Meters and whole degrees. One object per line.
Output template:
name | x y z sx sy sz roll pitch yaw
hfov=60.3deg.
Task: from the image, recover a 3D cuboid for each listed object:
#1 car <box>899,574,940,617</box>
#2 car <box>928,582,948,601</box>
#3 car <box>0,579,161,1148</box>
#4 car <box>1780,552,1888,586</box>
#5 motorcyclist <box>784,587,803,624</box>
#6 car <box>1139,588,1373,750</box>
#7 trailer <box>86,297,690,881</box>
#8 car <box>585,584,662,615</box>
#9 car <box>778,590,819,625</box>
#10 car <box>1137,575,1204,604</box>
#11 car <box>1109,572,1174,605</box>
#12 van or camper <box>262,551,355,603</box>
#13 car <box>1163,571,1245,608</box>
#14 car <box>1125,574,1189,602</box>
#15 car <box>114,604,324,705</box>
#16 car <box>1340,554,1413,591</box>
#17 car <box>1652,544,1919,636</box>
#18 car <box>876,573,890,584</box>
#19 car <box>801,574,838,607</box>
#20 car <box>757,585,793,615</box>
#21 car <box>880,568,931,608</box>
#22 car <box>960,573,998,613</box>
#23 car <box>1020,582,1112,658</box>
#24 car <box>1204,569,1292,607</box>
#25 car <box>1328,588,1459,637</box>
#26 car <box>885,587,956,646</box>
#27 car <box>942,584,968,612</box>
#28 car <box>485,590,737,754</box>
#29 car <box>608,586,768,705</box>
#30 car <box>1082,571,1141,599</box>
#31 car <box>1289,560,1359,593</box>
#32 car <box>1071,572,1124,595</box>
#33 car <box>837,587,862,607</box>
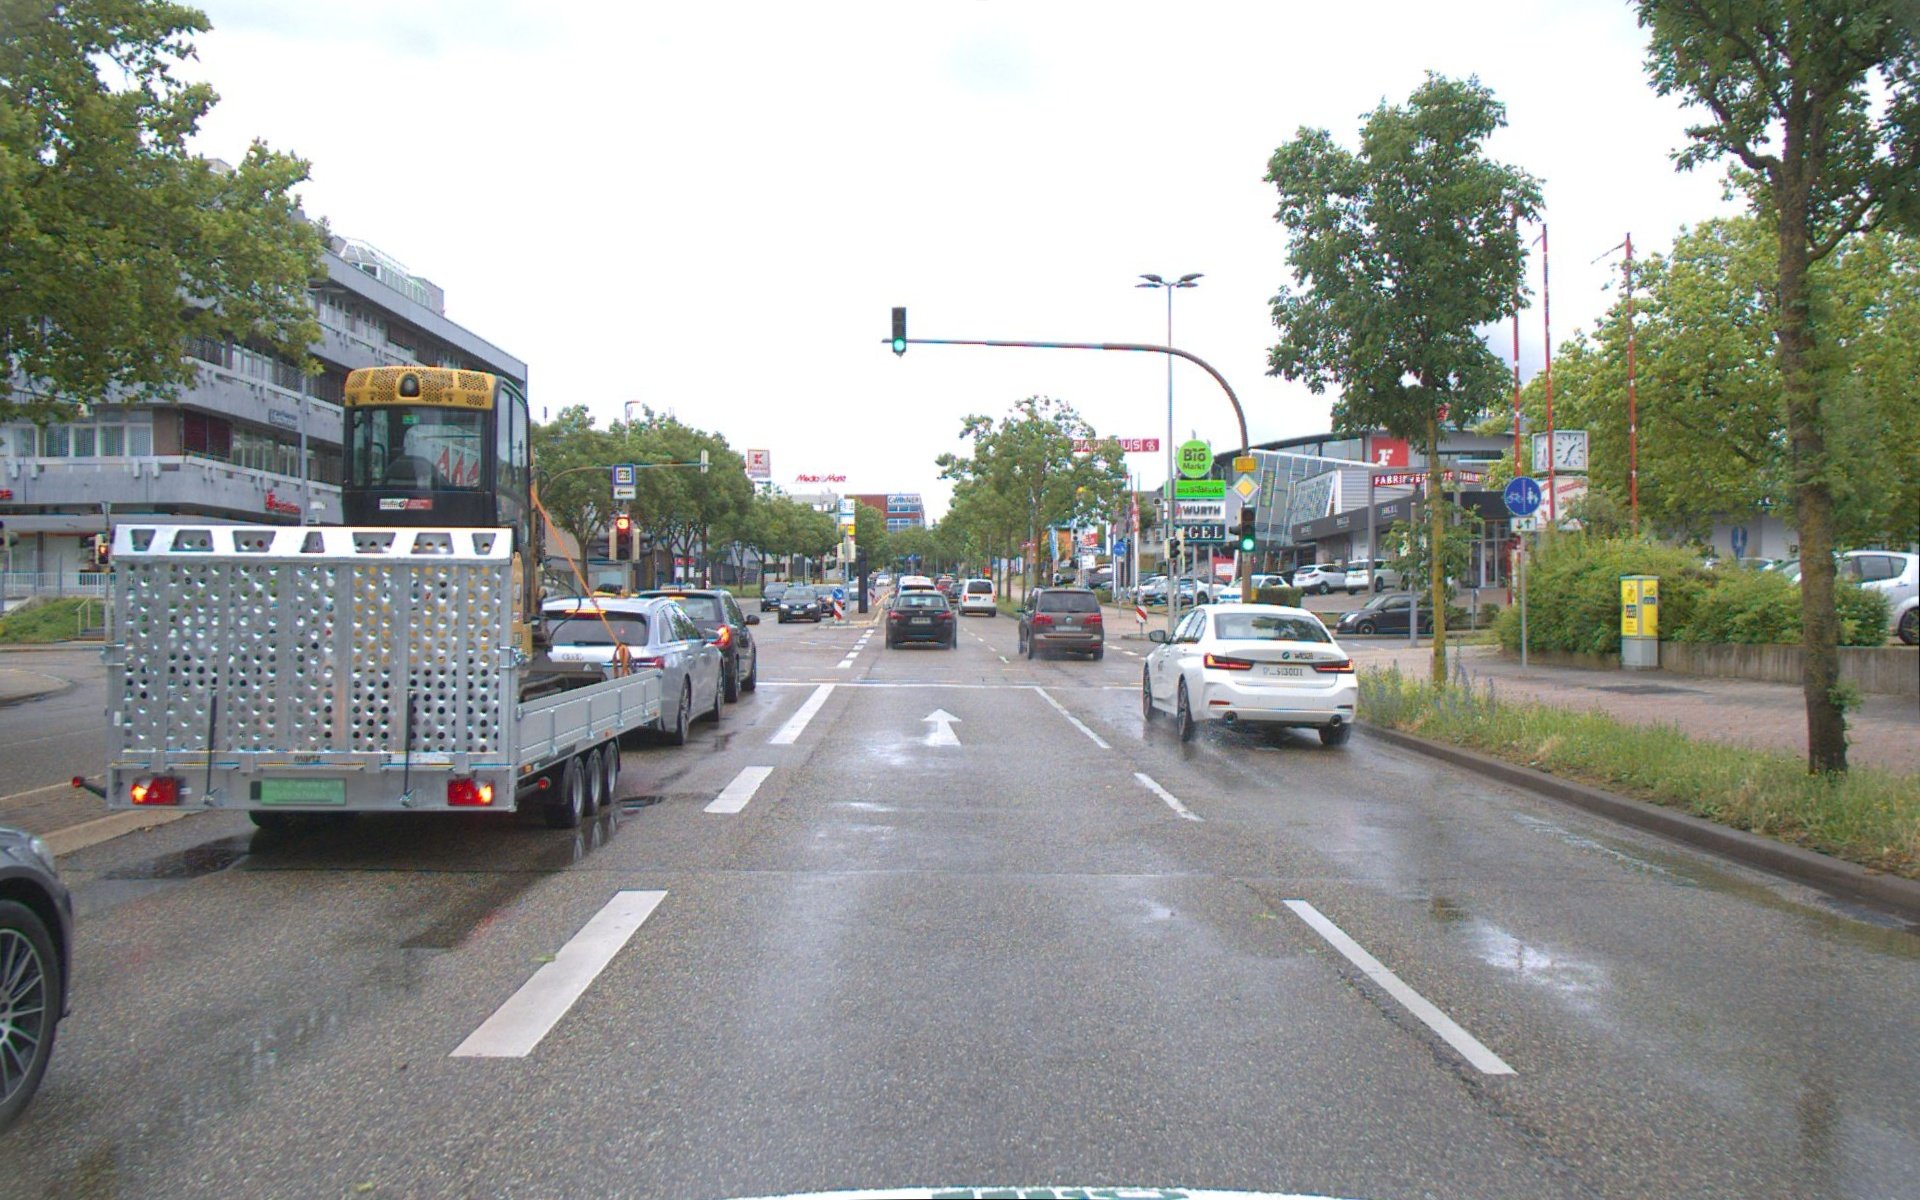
car | -2.051 -0.206 83.951 1.953 2.049 3.999 1 -1 -1
car | -1.811 -0.712 136.255 1.661 1.468 3.989 0 1 -1
car | -3.449 0.731 2.790 1.953 1.454 4.554 -2 1 0
car | 40.209 -1.401 76.161 1.723 1.506 4.091 -1 0 -41
motorcyclist | -7.405 0.240 73.733 0.790 1.586 1.267 0 1 -3
car | 3.205 0.684 18.810 1.764 1.571 4.619 2 0 -1
trailer | -3.365 -0.067 11.217 2.325 2.947 5.543 -1 0 -2
car | -18.293 -0.022 89.920 3.916 1.579 1.895 -1 1 33
car | -6.727 0.289 69.139 1.649 1.401 3.996 -1 0 -5
car | 11.407 -0.574 89.568 3.567 1.563 1.619 -1 0 -41
car | 11.805 -0.770 107.878 4.026 2.142 1.800 0 1 0
van or camper | -26.762 -0.917 68.113 1.953 2.001 4.787 1 -1 -1
car | 12.395 -0.546 83.844 3.992 1.691 1.953 -3 2 -41
car | 11.589 -0.737 97.274 3.567 1.562 1.770 -2 1 -41
car | -11.914 0.826 26.907 1.677 1.407 4.171 -3 0 -3
car | 20.999 -1.383 83.269 4.123 1.802 1.709 -1 0 -45
car | 14.021 -0.177 28.027 3.905 1.467 1.655 -1 0 1
car | -10.378 -2.888 223.015 1.904 1.474 3.998 0 0 -2
car | -6.645 -0.429 78.375 1.710 1.515 4.824 0 0 -5
car | -10.719 -0.019 96.038 1.873 1.636 4.359 -1 0 -5
car | -2.016 -0.433 59.921 1.649 1.401 3.996 -1 0 -5
car | 0.920 -0.346 82.167 1.746 1.899 3.999 -1 0 -2
car | 2.391 0.418 38.299 1.764 1.614 4.450 2 0 -1
car | 12.540 -0.537 71.784 1.896 1.604 4.266 0 1 40
car | 14.578 0.417 55.750 3.898 1.515 1.817 -1 -1 -1
car | -1.027 0.400 42.895 1.745 1.422 3.999 0 0 -2
car | -0.317 -0.107 107.129 1.650 1.713 3.402 1 -1 -1
car | -3.519 0.653 17.540 1.730 1.484 4.779 -1 0 -1
car | -3.762 0.583 23.489 1.679 1.515 4.076 -1 0 -1
car | 10.886 -1.107 119.057 4.026 1.938 1.800 -1 1 0
car | 20.472 -1.340 92.929 4.117 1.802 1.712 -1 0 -41
car | 10.507 -1.283 126.511 4.024 1.733 1.801 0 1 4
car | -8.423 -0.208 126.082 1.688 1.422 4.787 -3 0 -2
